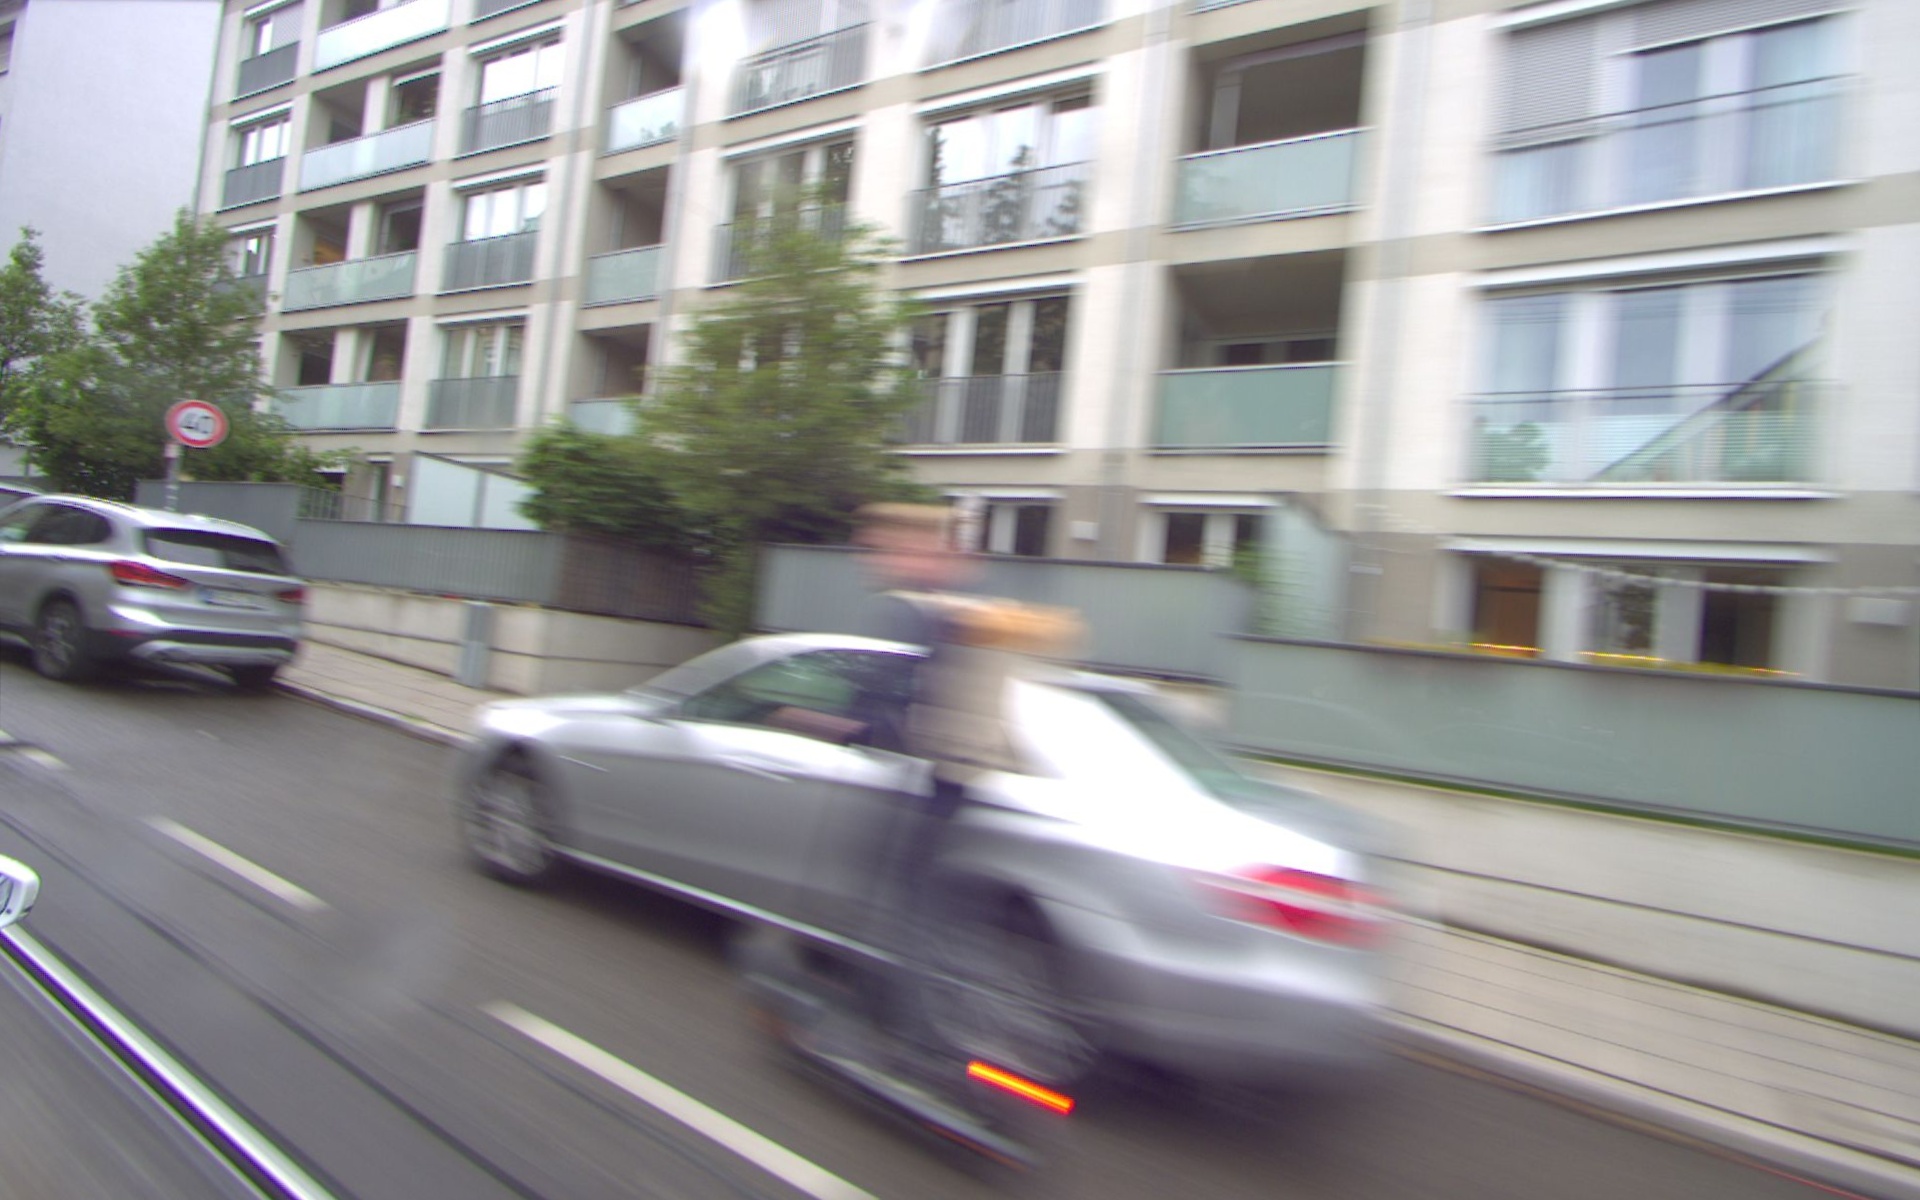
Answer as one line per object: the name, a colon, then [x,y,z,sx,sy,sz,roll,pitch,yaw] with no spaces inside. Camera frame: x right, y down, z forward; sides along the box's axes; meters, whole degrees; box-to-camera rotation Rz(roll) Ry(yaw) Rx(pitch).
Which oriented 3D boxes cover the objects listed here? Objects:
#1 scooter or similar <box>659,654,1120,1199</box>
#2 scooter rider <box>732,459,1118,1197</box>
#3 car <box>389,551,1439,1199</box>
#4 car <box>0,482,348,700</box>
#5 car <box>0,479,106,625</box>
scooter or similar: [-0.211,0.887,3.064,1.071,1.274,0.645,6,-3,31]
scooter rider: [-0.080,0.588,3.026,0.678,1.878,0.645,7,-2,31]
car: [-0.439,0.875,4.887,4.709,1.532,1.863,8,-2,31]
car: [-8.572,-0.199,9.940,4.484,1.602,1.982,8,-2,24]
car: [-13.342,-0.874,12.938,4.582,1.646,1.838,8,-2,27]
